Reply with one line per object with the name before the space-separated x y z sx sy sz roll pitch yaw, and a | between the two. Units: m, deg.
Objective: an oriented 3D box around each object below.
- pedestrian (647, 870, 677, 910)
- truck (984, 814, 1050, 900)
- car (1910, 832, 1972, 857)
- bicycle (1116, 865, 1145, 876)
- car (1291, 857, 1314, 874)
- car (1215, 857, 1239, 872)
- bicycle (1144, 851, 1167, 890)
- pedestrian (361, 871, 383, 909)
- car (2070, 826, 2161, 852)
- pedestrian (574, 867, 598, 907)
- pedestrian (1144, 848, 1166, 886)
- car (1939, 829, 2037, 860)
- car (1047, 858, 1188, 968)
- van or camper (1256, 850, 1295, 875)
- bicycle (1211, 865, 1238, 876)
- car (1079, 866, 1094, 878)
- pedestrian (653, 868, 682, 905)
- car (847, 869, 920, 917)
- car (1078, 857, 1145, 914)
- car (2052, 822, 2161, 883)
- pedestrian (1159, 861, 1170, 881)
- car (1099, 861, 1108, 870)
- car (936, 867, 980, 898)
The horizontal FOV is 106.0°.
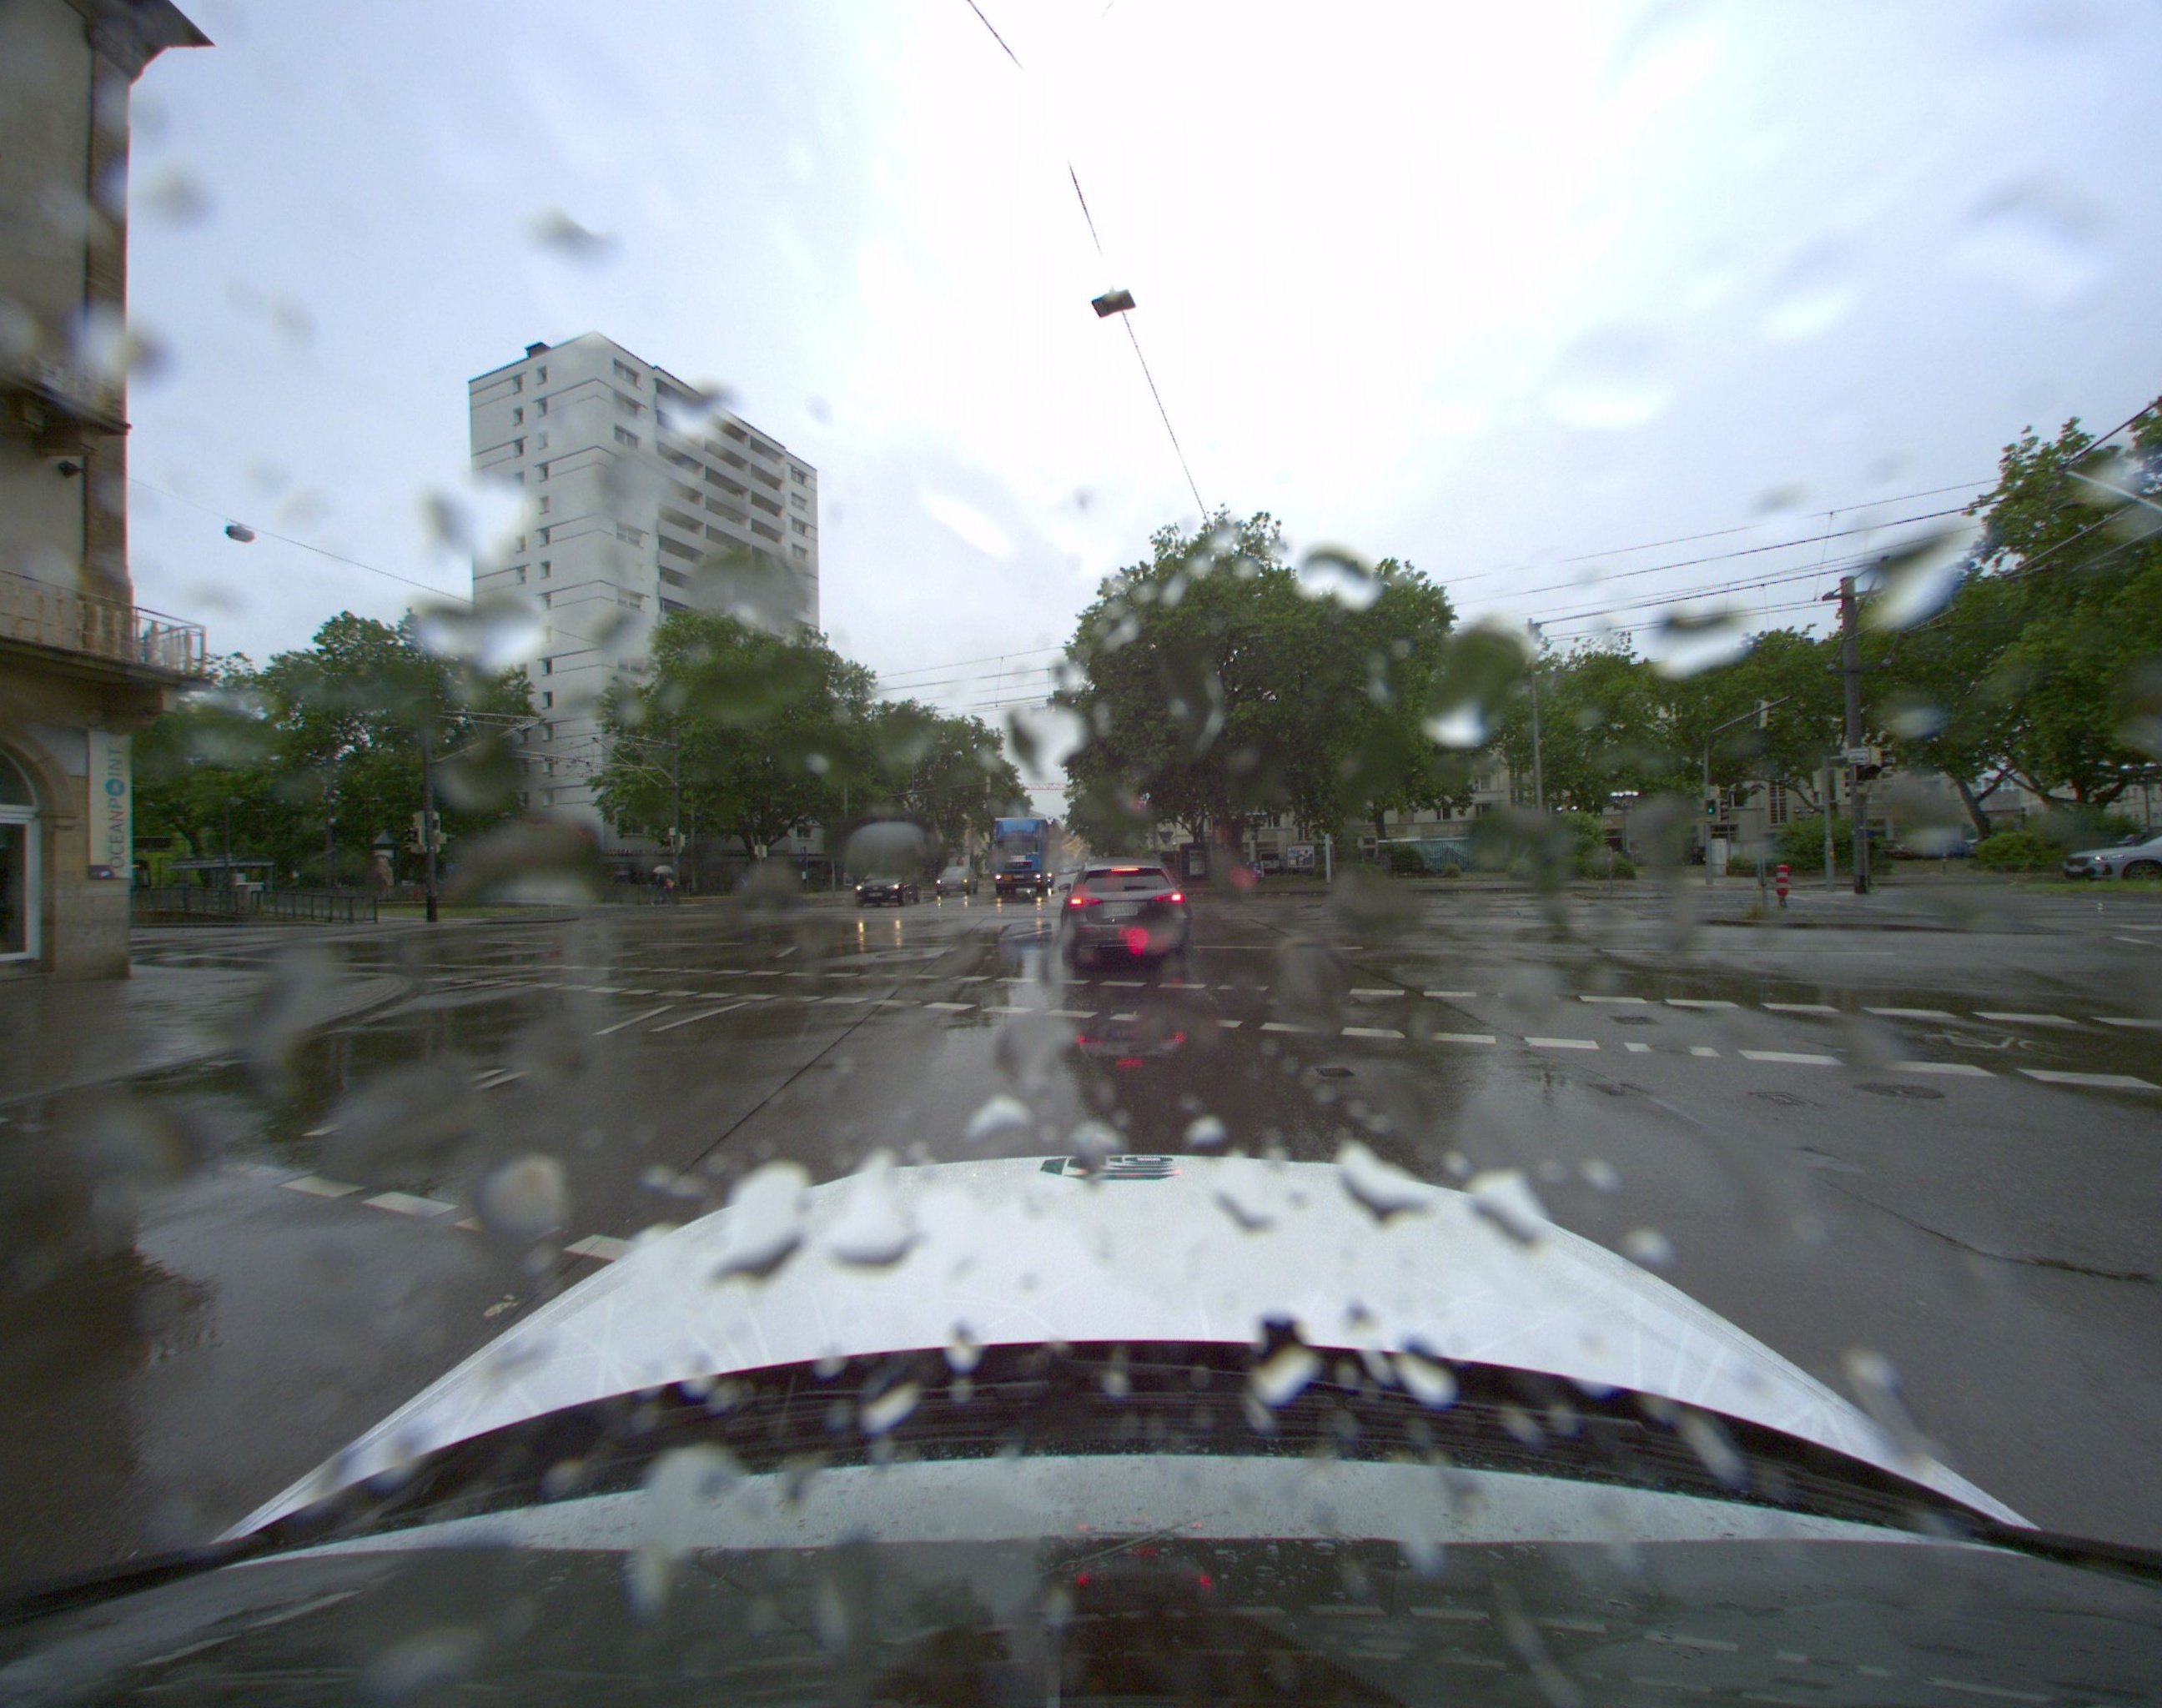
pedestrian | -18.156 1.548 35.303 0.829 1.648 0.759 -3 -1 14
truck | -3.260 0.227 44.234 2.838 4.025 10.310 -2 -1 -1
car | 62.368 -0.658 59.117 1.695 1.618 4.022 -1 -2 25
bicycle | 5.692 1.933 93.525 3.216 1.112 1.047 -2 -5 -20
car | 20.722 1.098 76.138 1.665 1.575 3.754 -2 -2 20
car | 14.185 1.029 78.920 1.568 1.337 3.279 -3 -4 23
bicycle | 2.789 0.607 30.443 0.745 1.377 2.712 -3 -1 6
pedestrian | -39.769 2.032 45.655 0.694 2.077 0.640 -2 -1 18
car | 66.110 -0.918 51.645 3.951 1.452 1.686 -3 -2 24
pedestrian | -23.571 1.552 38.785 0.671 1.838 0.643 -3 -1 22
pedestrian | 2.802 0.492 30.707 0.740 1.398 1.048 -3 -1 5
car | 51.773 -0.519 46.613 1.977 1.618 4.019 -3 -1 18
car | 0.447 0.778 12.126 1.786 1.372 3.505 -1 -1 -1
van or camper | 18.590 0.788 77.598 2.374 2.231 5.462 -3 -2 27
bicycle | 13.048 1.497 74.028 2.227 0.968 0.588 -2 -1 22
car | 0.735 2.628 116.785 1.988 1.574 3.997 -2 -1 -2
pedestrian | -19.045 1.503 37.534 0.784 1.648 0.821 -3 -1 23
car | -7.147 1.367 29.811 1.738 1.546 3.776 -3 -1 -1
car | 0.770 0.839 22.693 1.602 1.372 3.998 -3 -1 -1
car | 29.817 -0.096 21.843 4.500 1.599 1.801 -2 -1 22
pedestrian | 7.031 1.455 68.526 0.717 1.669 0.662 -1 -2 -11
car | 5.190 2.680 188.369 2.038 1.836 4.795 -2 -1 3
car | -6.525 1.487 43.599 1.721 1.546 4.337 -3 -1 -1
